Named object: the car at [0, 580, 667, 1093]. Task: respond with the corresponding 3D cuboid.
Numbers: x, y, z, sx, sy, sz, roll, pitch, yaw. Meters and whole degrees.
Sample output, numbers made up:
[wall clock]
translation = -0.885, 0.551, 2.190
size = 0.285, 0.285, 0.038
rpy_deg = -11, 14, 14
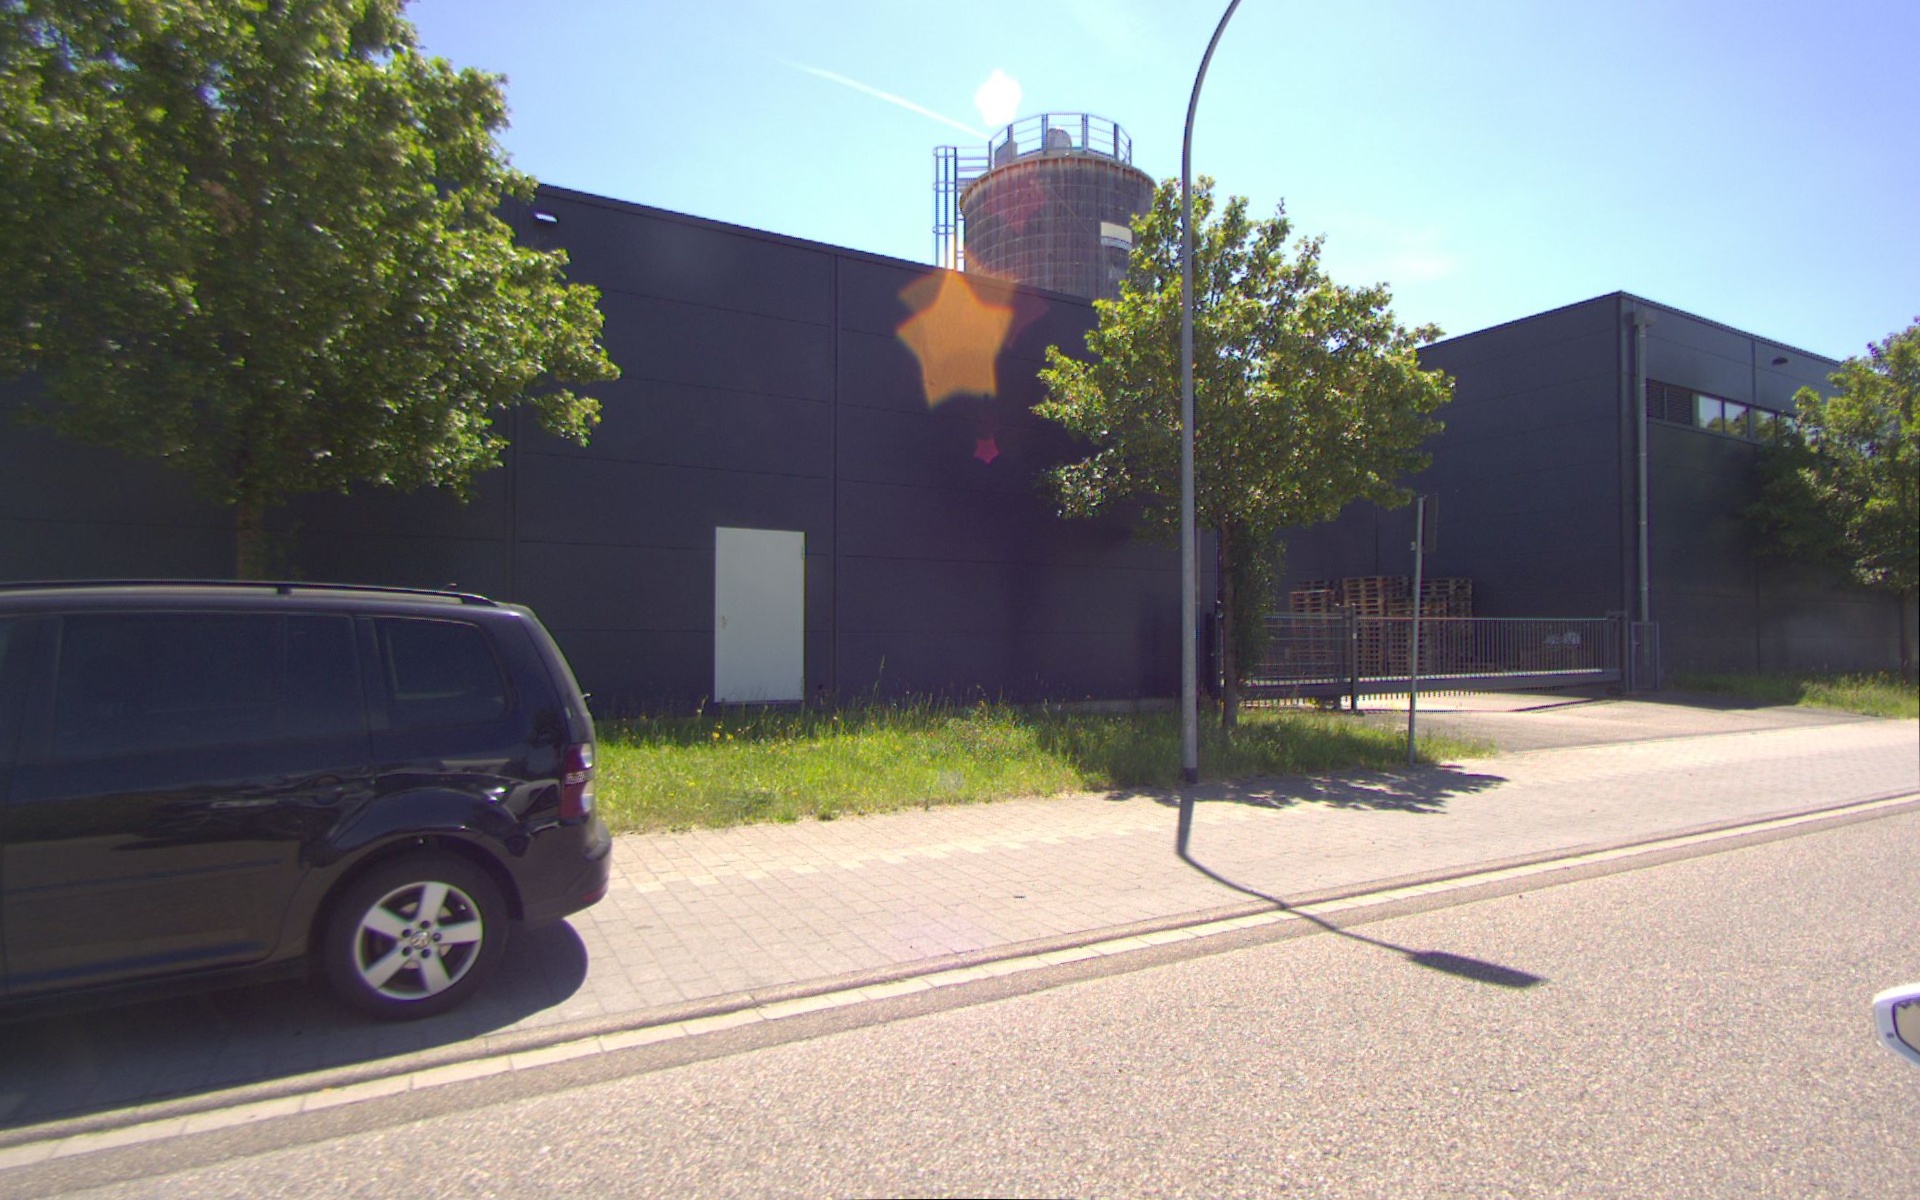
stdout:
[car]
translation = -3.500, 0.763, 3.958
size = 4.199, 1.633, 1.762
rpy_deg = 1, -1, -31
